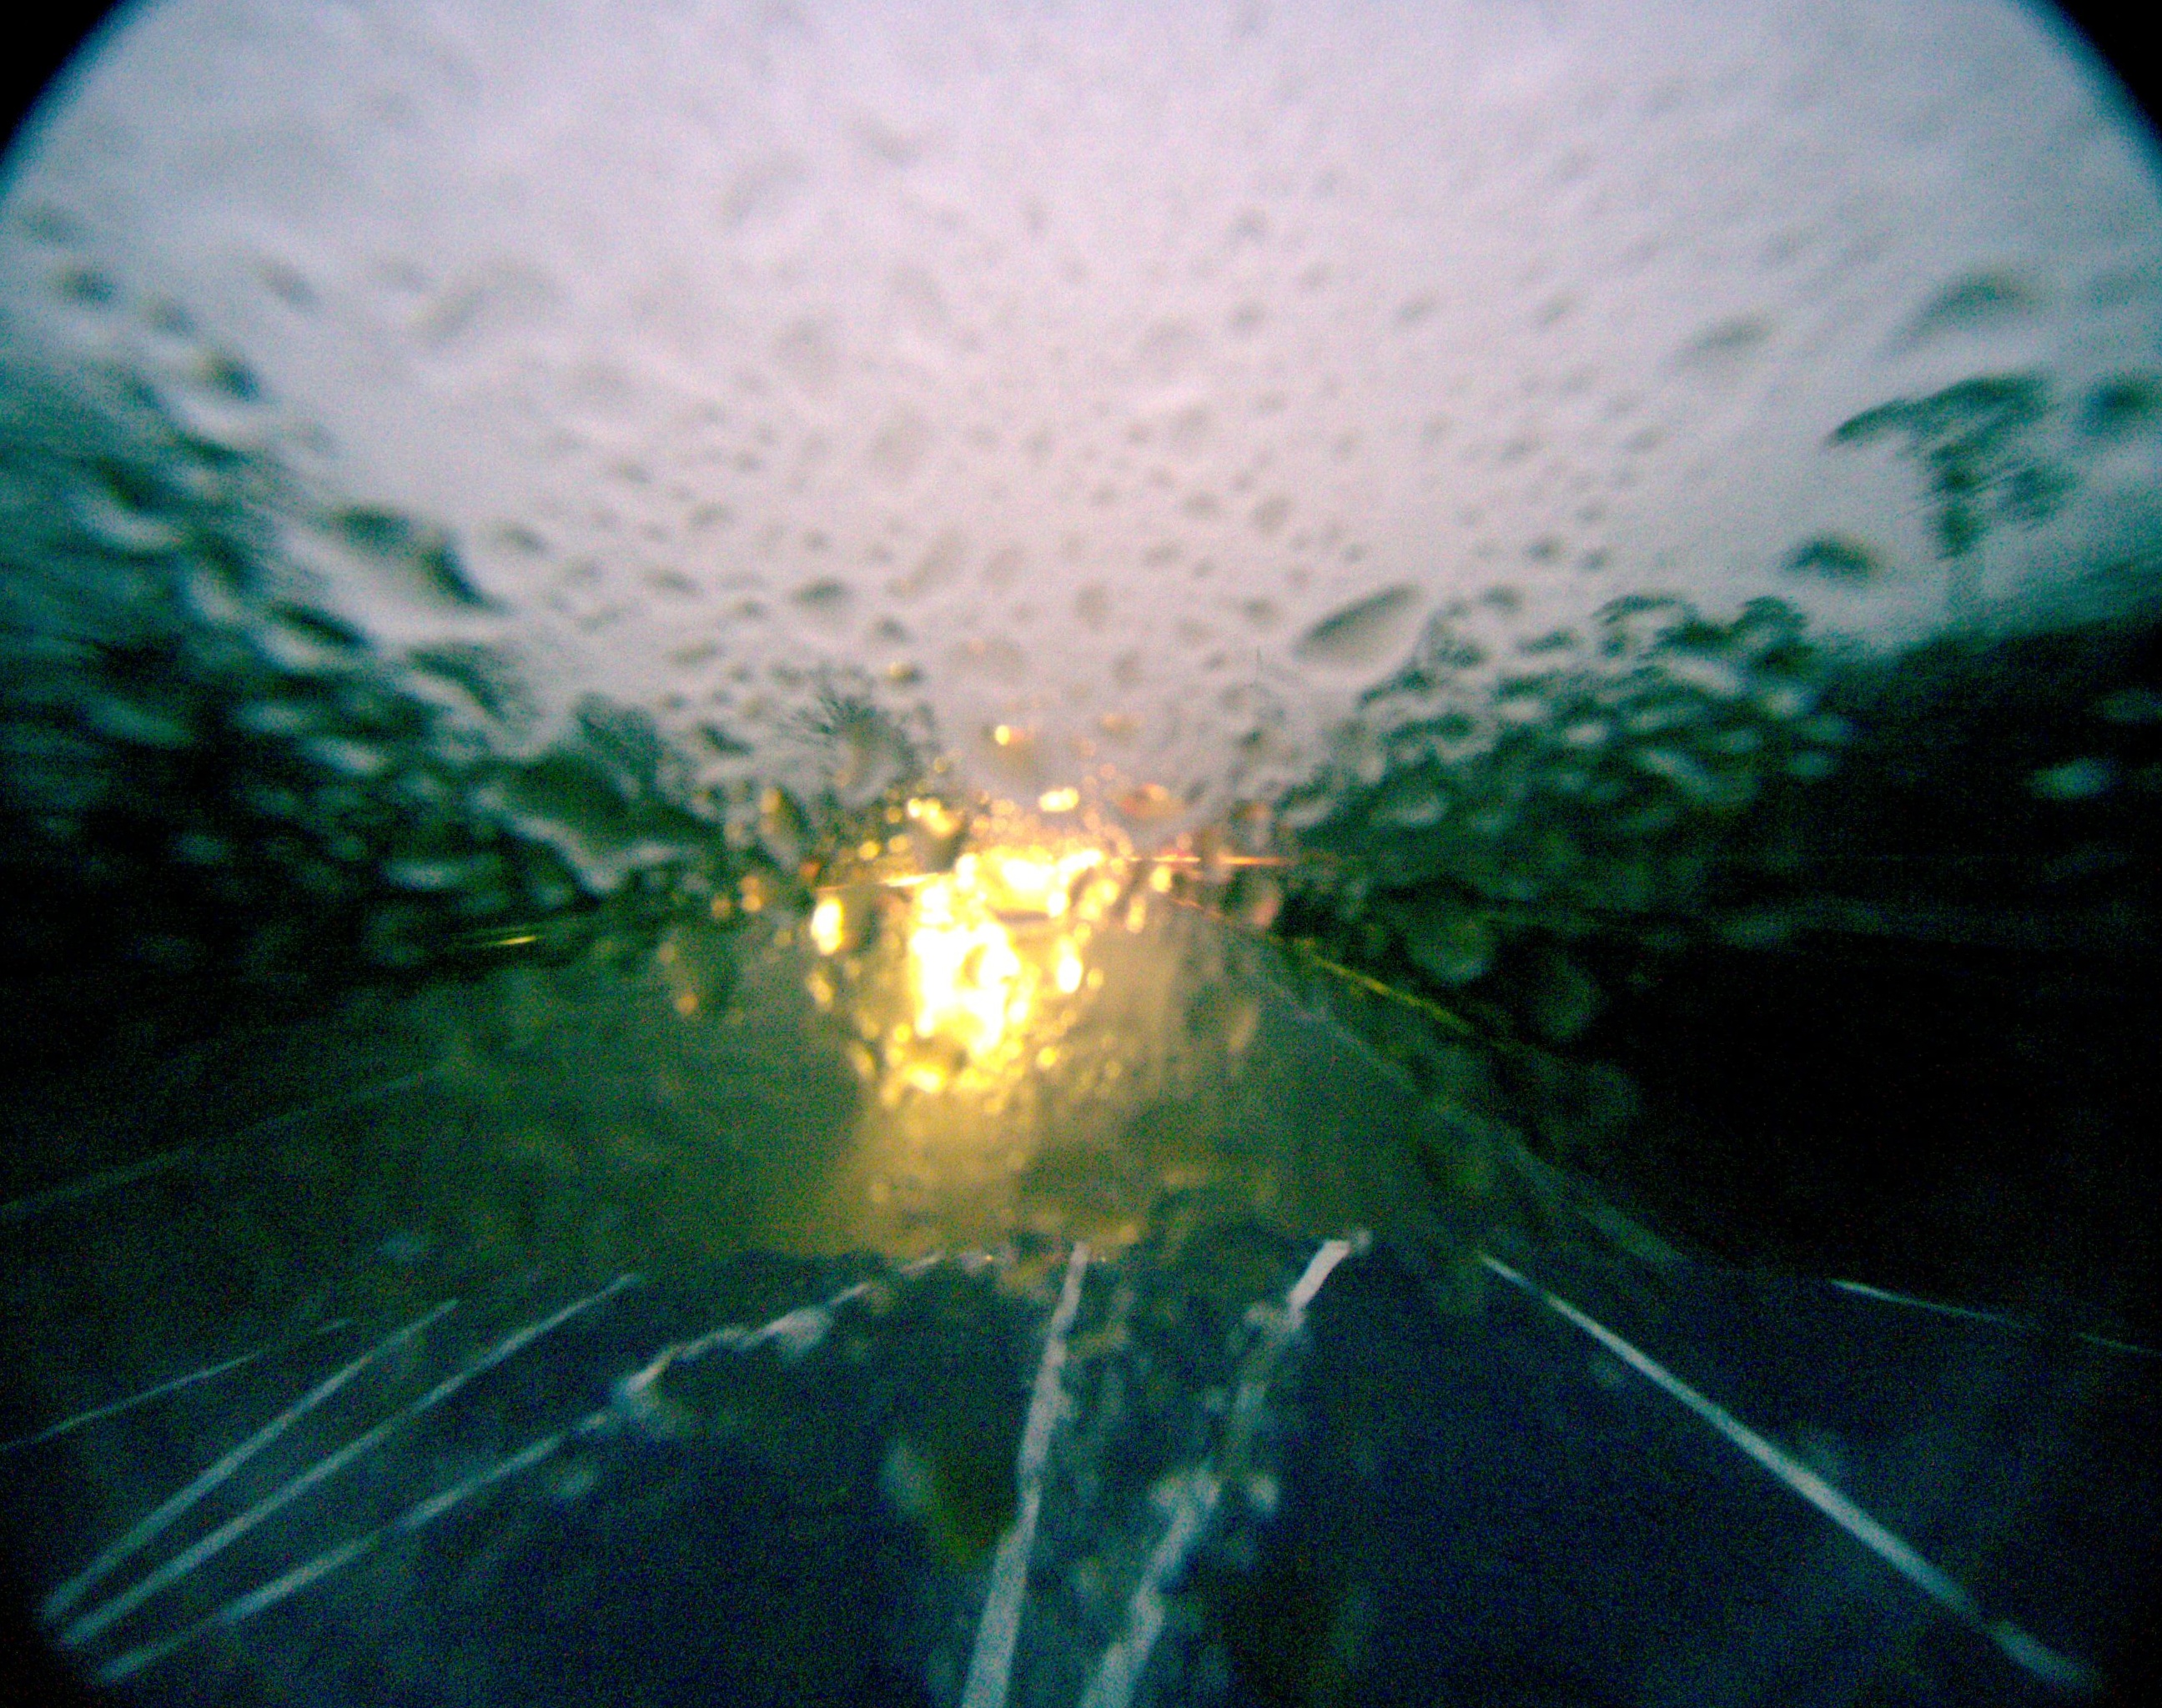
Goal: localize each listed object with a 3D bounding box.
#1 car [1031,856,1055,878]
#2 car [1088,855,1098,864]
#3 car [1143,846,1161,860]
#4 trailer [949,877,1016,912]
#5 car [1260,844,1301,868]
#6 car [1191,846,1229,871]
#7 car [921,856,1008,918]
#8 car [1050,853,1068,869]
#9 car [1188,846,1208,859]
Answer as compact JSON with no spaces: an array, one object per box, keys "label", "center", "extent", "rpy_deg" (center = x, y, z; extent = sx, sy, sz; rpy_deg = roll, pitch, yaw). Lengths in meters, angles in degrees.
[{"label":"car","center":[-2.902,0.976,58.531],"extent":[1.598,1.482,3.594],"rpy_deg":[-4,0,1]},{"label":"car","center":[2.014,0.944,127.531],"extent":[1.632,1.465,4.000],"rpy_deg":[-3,0,0]},{"label":"car","center":[8.551,-0.114,92.139],"extent":[1.731,1.580,4.416],"rpy_deg":[-4,0,1]},{"label":"trailer","center":[-3.159,1.283,24.953],"extent":[1.752,0.919,2.951],"rpy_deg":[-2,0,0]},{"label":"car","center":[12.404,0.085,47.478],"extent":[1.502,1.388,4.053],"rpy_deg":[-1,0,1]},{"label":"car","center":[8.376,0.253,49.762],"extent":[1.731,1.452,4.416],"rpy_deg":[-4,0,1]},{"label":"car","center":[-3.206,0.868,21.560],"extent":[1.791,1.508,3.811],"rpy_deg":[-2,0,0]},{"label":"car","center":[-2.282,0.745,79.143],"extent":[1.682,1.500,3.809],"rpy_deg":[-4,0,1]},{"label":"car","center":[13.319,-0.162,86.699],"extent":[1.731,1.452,4.416],"rpy_deg":[-1,0,1]}]
